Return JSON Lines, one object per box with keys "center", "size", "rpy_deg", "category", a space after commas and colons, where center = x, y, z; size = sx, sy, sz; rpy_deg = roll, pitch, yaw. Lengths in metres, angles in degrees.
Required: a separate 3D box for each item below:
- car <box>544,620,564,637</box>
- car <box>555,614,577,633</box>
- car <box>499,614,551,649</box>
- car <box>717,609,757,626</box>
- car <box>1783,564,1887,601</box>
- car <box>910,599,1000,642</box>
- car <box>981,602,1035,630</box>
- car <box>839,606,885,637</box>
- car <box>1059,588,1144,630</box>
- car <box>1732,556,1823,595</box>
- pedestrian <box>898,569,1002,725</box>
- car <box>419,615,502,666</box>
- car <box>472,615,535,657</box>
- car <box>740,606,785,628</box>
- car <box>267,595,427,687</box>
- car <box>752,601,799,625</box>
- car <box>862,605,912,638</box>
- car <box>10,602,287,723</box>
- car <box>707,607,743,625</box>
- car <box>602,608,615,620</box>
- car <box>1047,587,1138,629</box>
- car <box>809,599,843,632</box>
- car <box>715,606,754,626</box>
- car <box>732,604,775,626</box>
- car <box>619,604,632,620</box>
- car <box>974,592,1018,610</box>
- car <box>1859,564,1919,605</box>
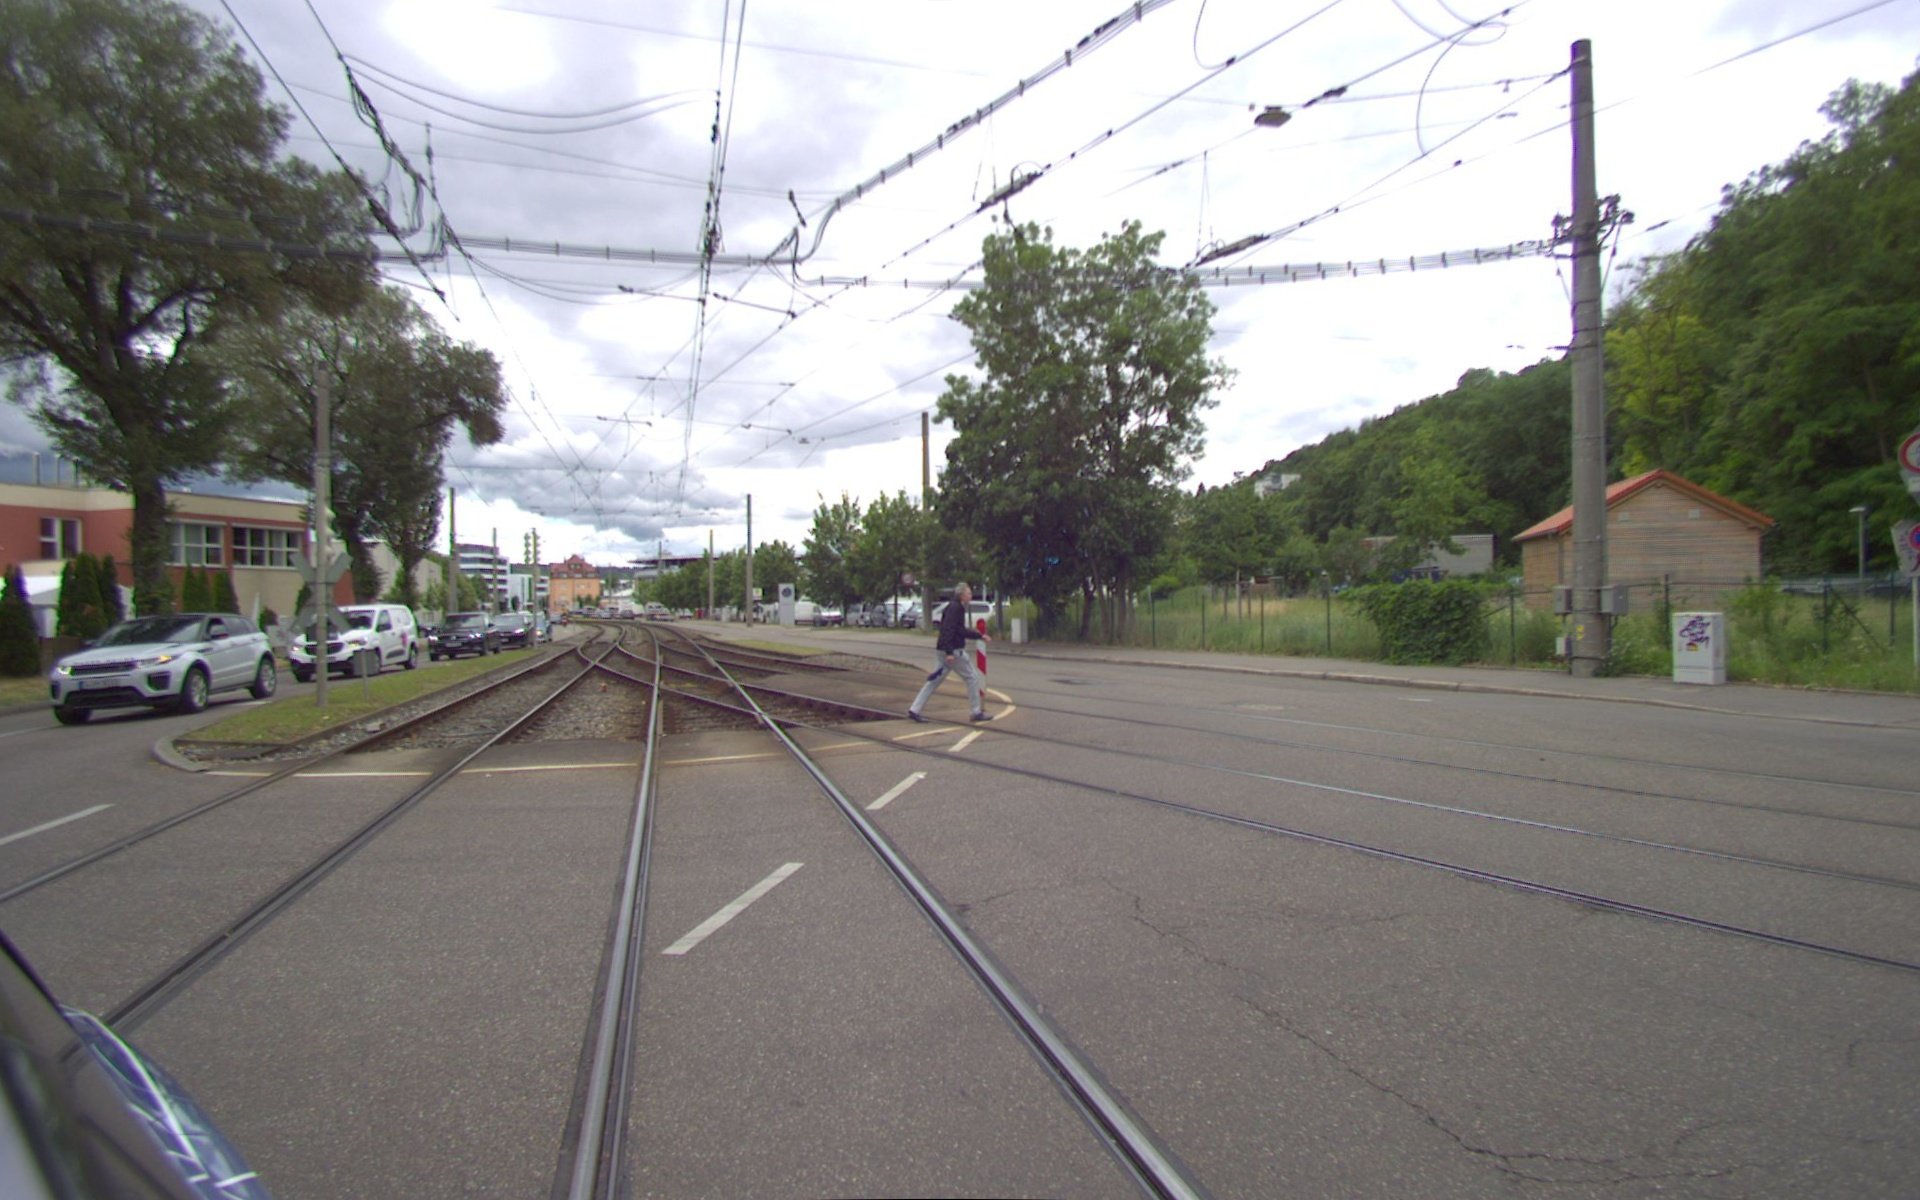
{"center": [-47.253, 3.328, 117.825], "size": [1.838, 1.762, 4.013], "rpy_deg": [-5, 1, -20], "category": "car"}
{"center": [-39.220, 2.325, 100.802], "size": [1.838, 1.762, 4.013], "rpy_deg": [-5, 1, -20], "category": "car"}
{"center": [-22.530, 1.611, 52.569], "size": [1.966, 1.567, 4.575], "rpy_deg": [-3, 1, -18], "category": "car"}
{"center": [-28.981, 2.301, 131.494], "size": [4.560, 1.853, 2.116], "rpy_deg": [-5, 1, -23], "category": "car"}
{"center": [37.744, -0.773, 43.788], "size": [1.739, 1.387, 3.668], "rpy_deg": [-4, 1, 12], "category": "car"}
{"center": [-0.313, 1.287, 64.367], "size": [5.183, 2.284, 2.006], "rpy_deg": [-5, 1, -18], "category": "car"}
{"center": [3.898, 1.292, 82.450], "size": [4.182, 1.850, 1.978], "rpy_deg": [-4, 1, 4], "category": "car"}
{"center": [-7.697, 1.664, 79.098], "size": [2.106, 2.131, 4.792], "rpy_deg": [-5, 1, -24], "category": "car"}
{"center": [9.914, 0.645, 71.072], "size": [5.592, 2.478, 1.978], "rpy_deg": [-4, 1, 4], "category": "car"}
{"center": [38.461, -1.160, 47.737], "size": [1.739, 1.625, 3.668], "rpy_deg": [-4, 1, 12], "category": "car"}
{"center": [-0.145, 0.553, 12.433], "size": [1.104, 1.773, 0.814], "rpy_deg": [-4, 0, -4], "category": "pedestrian"}
{"center": [-17.921, 1.399, 36.491], "size": [1.966, 1.567, 4.575], "rpy_deg": [-3, 1, -18], "category": "car"}
{"center": [-19.960, 1.520, 44.443], "size": [1.966, 1.567, 4.575], "rpy_deg": [-3, 1, -18], "category": "car"}
{"center": [-22.537, 1.932, 115.691], "size": [4.560, 2.225, 2.116], "rpy_deg": [-5, 1, -23], "category": "car"}
{"center": [-15.707, 0.986, 26.269], "size": [1.967, 2.017, 5.047], "rpy_deg": [-4, 0, -13], "category": "car"}
{"center": [-20.198, 1.436, 111.045], "size": [4.560, 2.225, 2.116], "rpy_deg": [-5, 1, -23], "category": "car"}
{"center": [-5.336, 1.550, 73.244], "size": [2.106, 2.131, 4.792], "rpy_deg": [-5, 1, -22], "category": "car"}
{"center": [-13.345, 0.935, 17.033], "size": [1.967, 1.703, 4.280], "rpy_deg": [-2, 0, -13], "category": "car"}
{"center": [-33.300, 2.274, 143.235], "size": [4.560, 2.225, 2.116], "rpy_deg": [-5, 1, -23], "category": "car"}
{"center": [-67.526, 2.691, 194.301], "size": [1.966, 2.028, 4.013], "rpy_deg": [-5, 1, -22], "category": "car"}
{"center": [8.833, 0.525, 67.760], "size": [5.782, 2.284, 2.049], "rpy_deg": [-4, 1, 7], "category": "car"}
{"center": [-13.294, 1.505, 99.925], "size": [2.283, 3.033, 6.176], "rpy_deg": [-4, 1, -16], "category": "car"}
{"center": [-29.822, 2.146, 133.760], "size": [4.560, 2.225, 2.116], "rpy_deg": [-5, 1, -23], "category": "car"}
{"center": [-24.564, 1.762, 120.574], "size": [4.560, 2.225, 2.116], "rpy_deg": [-5, 1, -23], "category": "car"}
{"center": [-67.640, 2.429, 204.589], "size": [2.371, 2.970, 4.763], "rpy_deg": [-5, 1, -18], "category": "car"}
{"center": [4.443, 0.110, 123.654], "size": [5.164, 1.850, 1.977], "rpy_deg": [-4, 1, 6], "category": "car"}
{"center": [36.490, -0.614, 38.511], "size": [1.739, 1.387, 3.668], "rpy_deg": [-4, 1, 12], "category": "car"}
